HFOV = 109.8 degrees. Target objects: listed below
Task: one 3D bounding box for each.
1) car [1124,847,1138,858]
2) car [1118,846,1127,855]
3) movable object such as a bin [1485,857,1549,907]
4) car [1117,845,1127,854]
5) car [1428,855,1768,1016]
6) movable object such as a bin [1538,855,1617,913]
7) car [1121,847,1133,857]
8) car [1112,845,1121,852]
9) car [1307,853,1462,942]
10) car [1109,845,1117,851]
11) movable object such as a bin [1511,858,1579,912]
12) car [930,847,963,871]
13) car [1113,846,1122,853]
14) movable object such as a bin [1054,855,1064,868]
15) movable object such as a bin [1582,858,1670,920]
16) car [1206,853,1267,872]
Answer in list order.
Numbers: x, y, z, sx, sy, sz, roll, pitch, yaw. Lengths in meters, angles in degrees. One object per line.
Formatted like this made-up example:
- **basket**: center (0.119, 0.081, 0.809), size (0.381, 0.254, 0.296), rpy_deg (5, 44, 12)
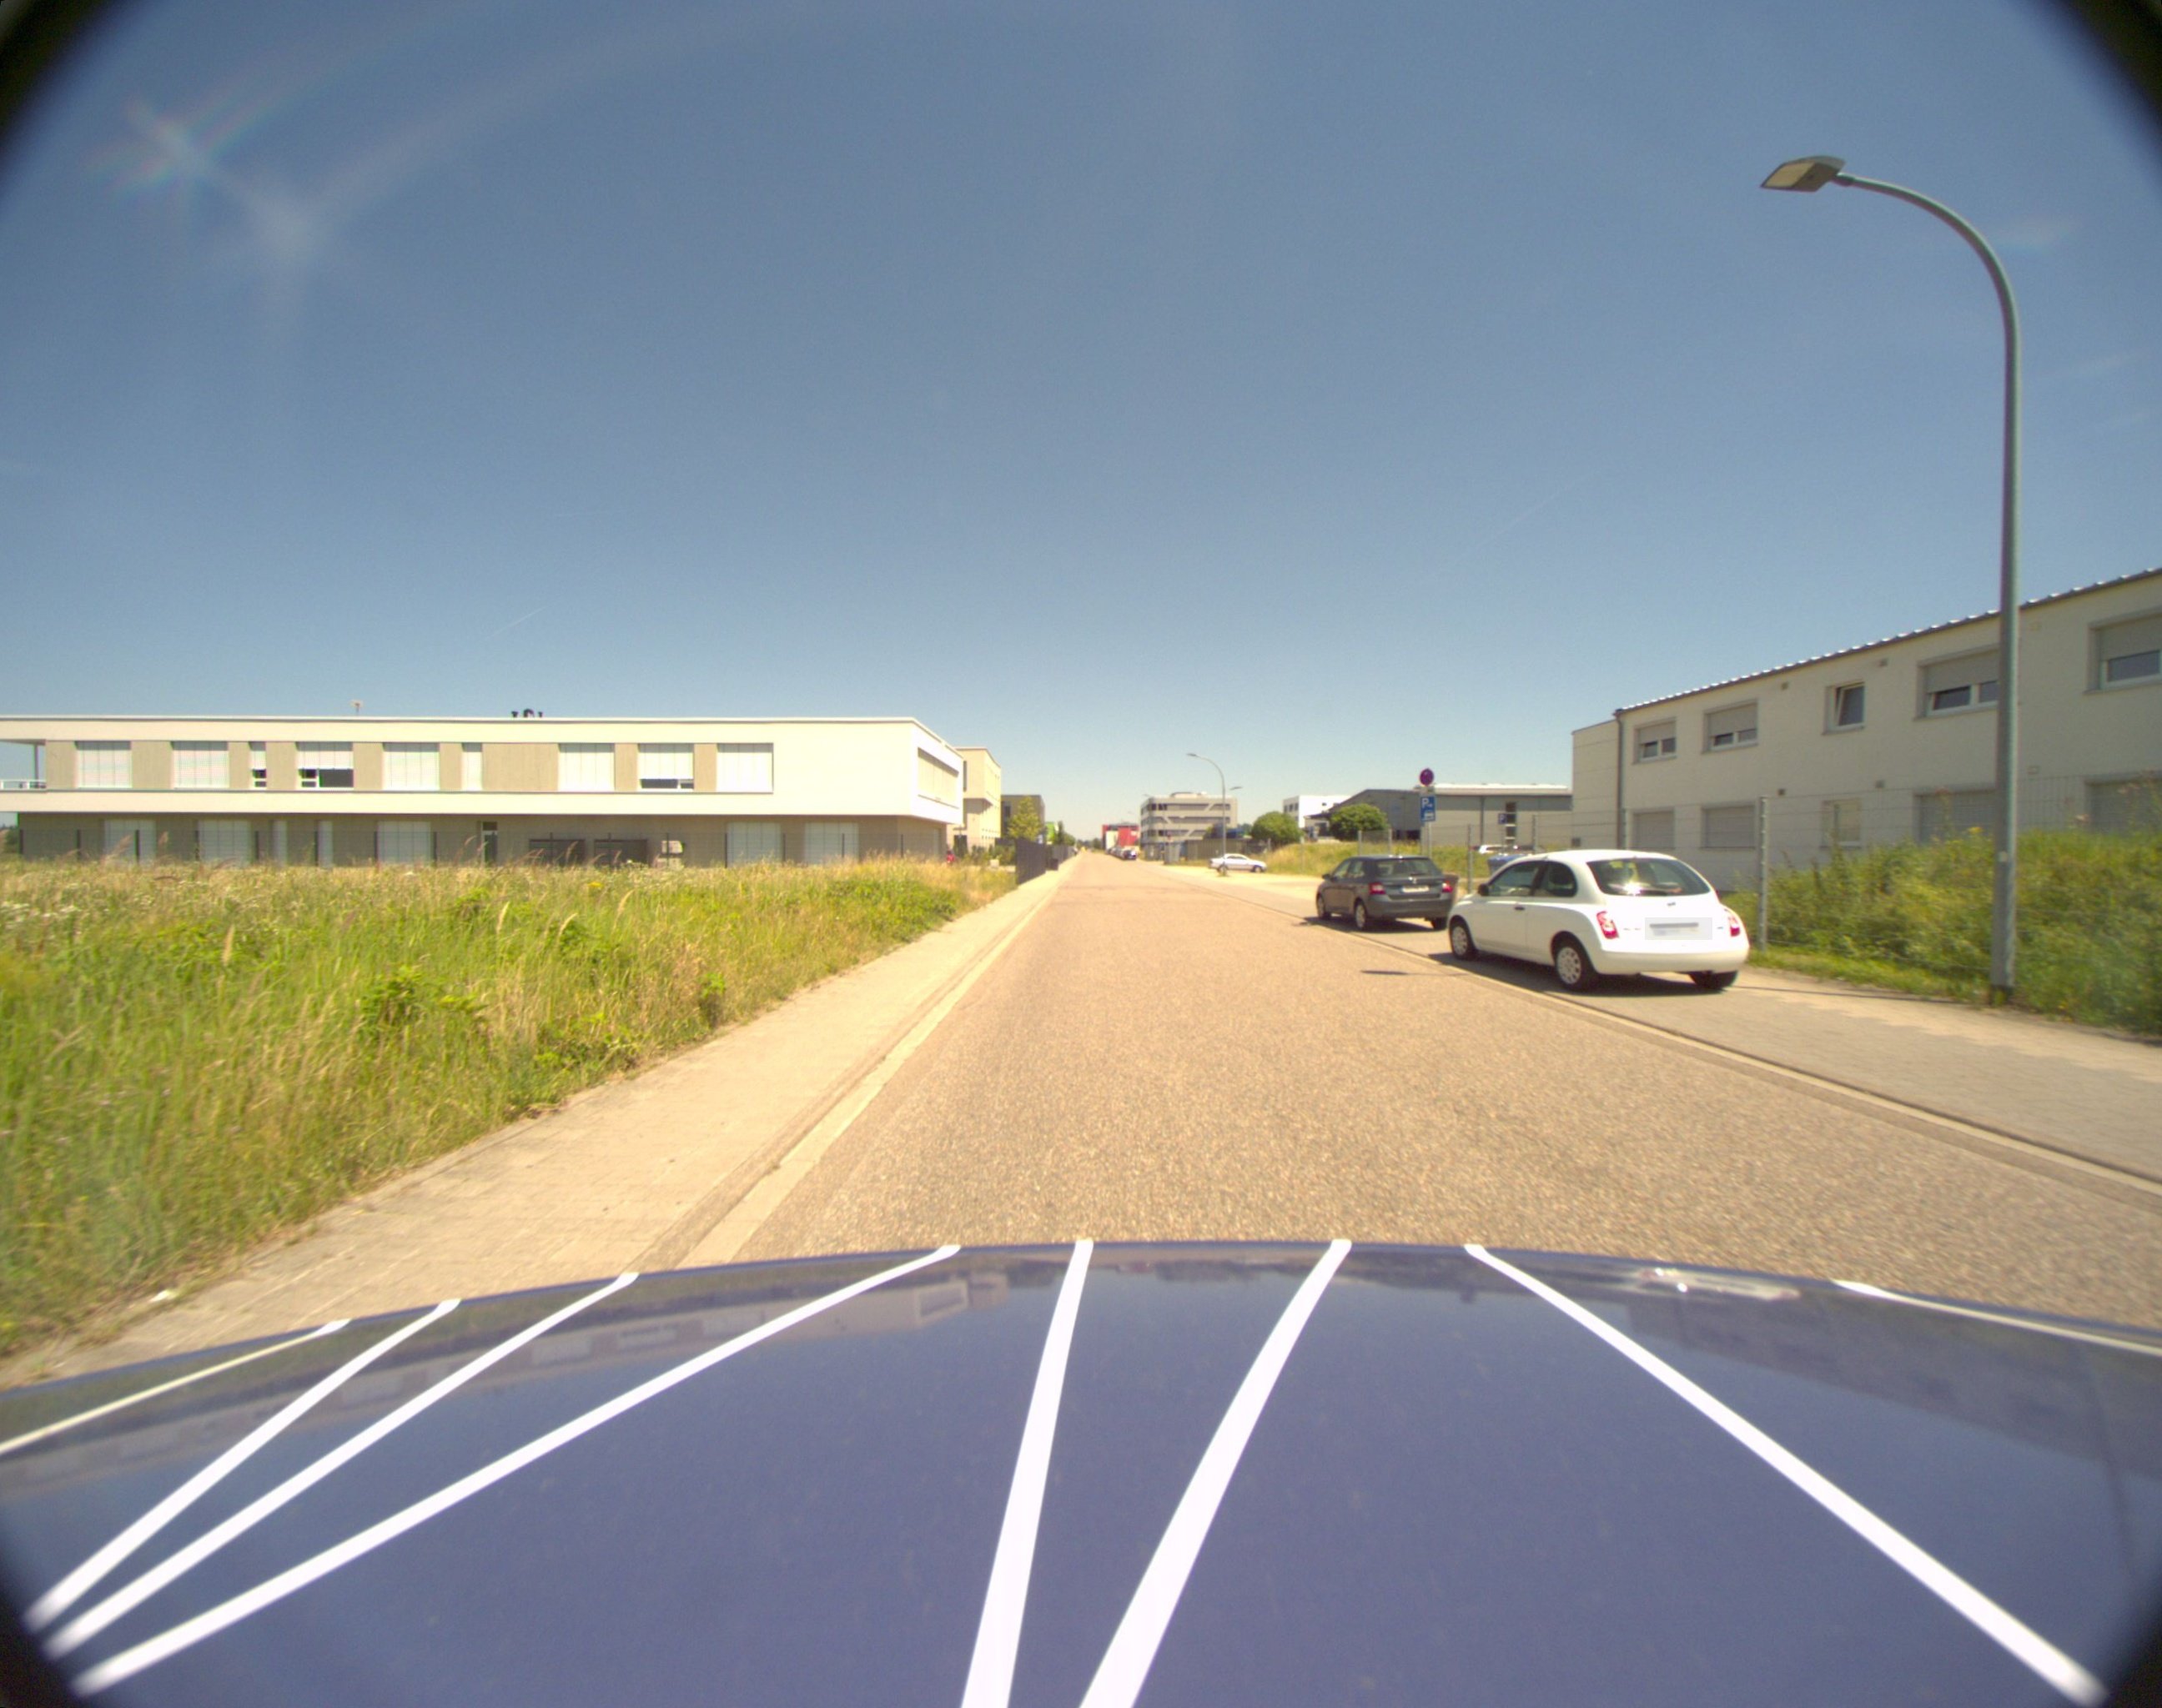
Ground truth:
- **car**: center (7.279, -0.204, 110.782), size (1.695, 1.481, 3.660), rpy_deg (-2, 1, 1)
- **car**: center (7.740, -0.720, 141.825), size (1.659, 1.573, 3.777), rpy_deg (-2, 1, 1)
- **movable object such as a bin**: center (13.108, 0.823, 22.906), size (1.146, 1.440, 1.434), rpy_deg (0, 1, 3)
- **car**: center (7.951, -0.844, 146.395), size (1.772, 1.521, 3.777), rpy_deg (-2, 1, 1)
- **car**: center (6.001, 0.814, 9.440), size (1.678, 1.521, 3.757), rpy_deg (-1, 1, 1)
- **movable object such as a bin**: center (13.003, 0.768, 19.951), size (1.090, 1.440, 1.388), rpy_deg (-1, 1, -4)
- **car**: center (7.389, -0.344, 122.128), size (1.772, 1.521, 3.777), rpy_deg (-2, 1, 1)
- **car**: center (8.105, -1.211, 172.884), size (1.772, 1.521, 3.777), rpy_deg (-2, 1, 1)
- **car**: center (6.075, 0.792, 15.726), size (1.678, 1.521, 3.909), rpy_deg (-1, 1, 1)
- **car**: center (8.088, -1.557, 192.929), size (1.772, 1.521, 3.777), rpy_deg (-2, 1, 1)
- **movable object such as a bin**: center (13.060, 0.848, 21.452), size (1.127, 1.440, 1.371), rpy_deg (0, 1, 3)
- **car**: center (-9.097, 0.361, 51.809), size (1.673, 1.548, 4.077), rpy_deg (0, -1, -2)
- **car**: center (7.680, -0.980, 160.385), size (1.772, 1.521, 3.777), rpy_deg (-2, 1, 1)
- **movable object such as a bin**: center (-1.831, 0.602, 63.617), size (0.749, 1.042, 0.698), rpy_deg (1, 1, 1)
- **movable object such as a bin**: center (13.126, 0.822, 18.358), size (1.145, 1.397, 1.388), rpy_deg (0, 1, 3)
- **car**: center (11.799, 0.659, 57.797), size (4.257, 1.371, 1.862), rpy_deg (0, 1, 2)
